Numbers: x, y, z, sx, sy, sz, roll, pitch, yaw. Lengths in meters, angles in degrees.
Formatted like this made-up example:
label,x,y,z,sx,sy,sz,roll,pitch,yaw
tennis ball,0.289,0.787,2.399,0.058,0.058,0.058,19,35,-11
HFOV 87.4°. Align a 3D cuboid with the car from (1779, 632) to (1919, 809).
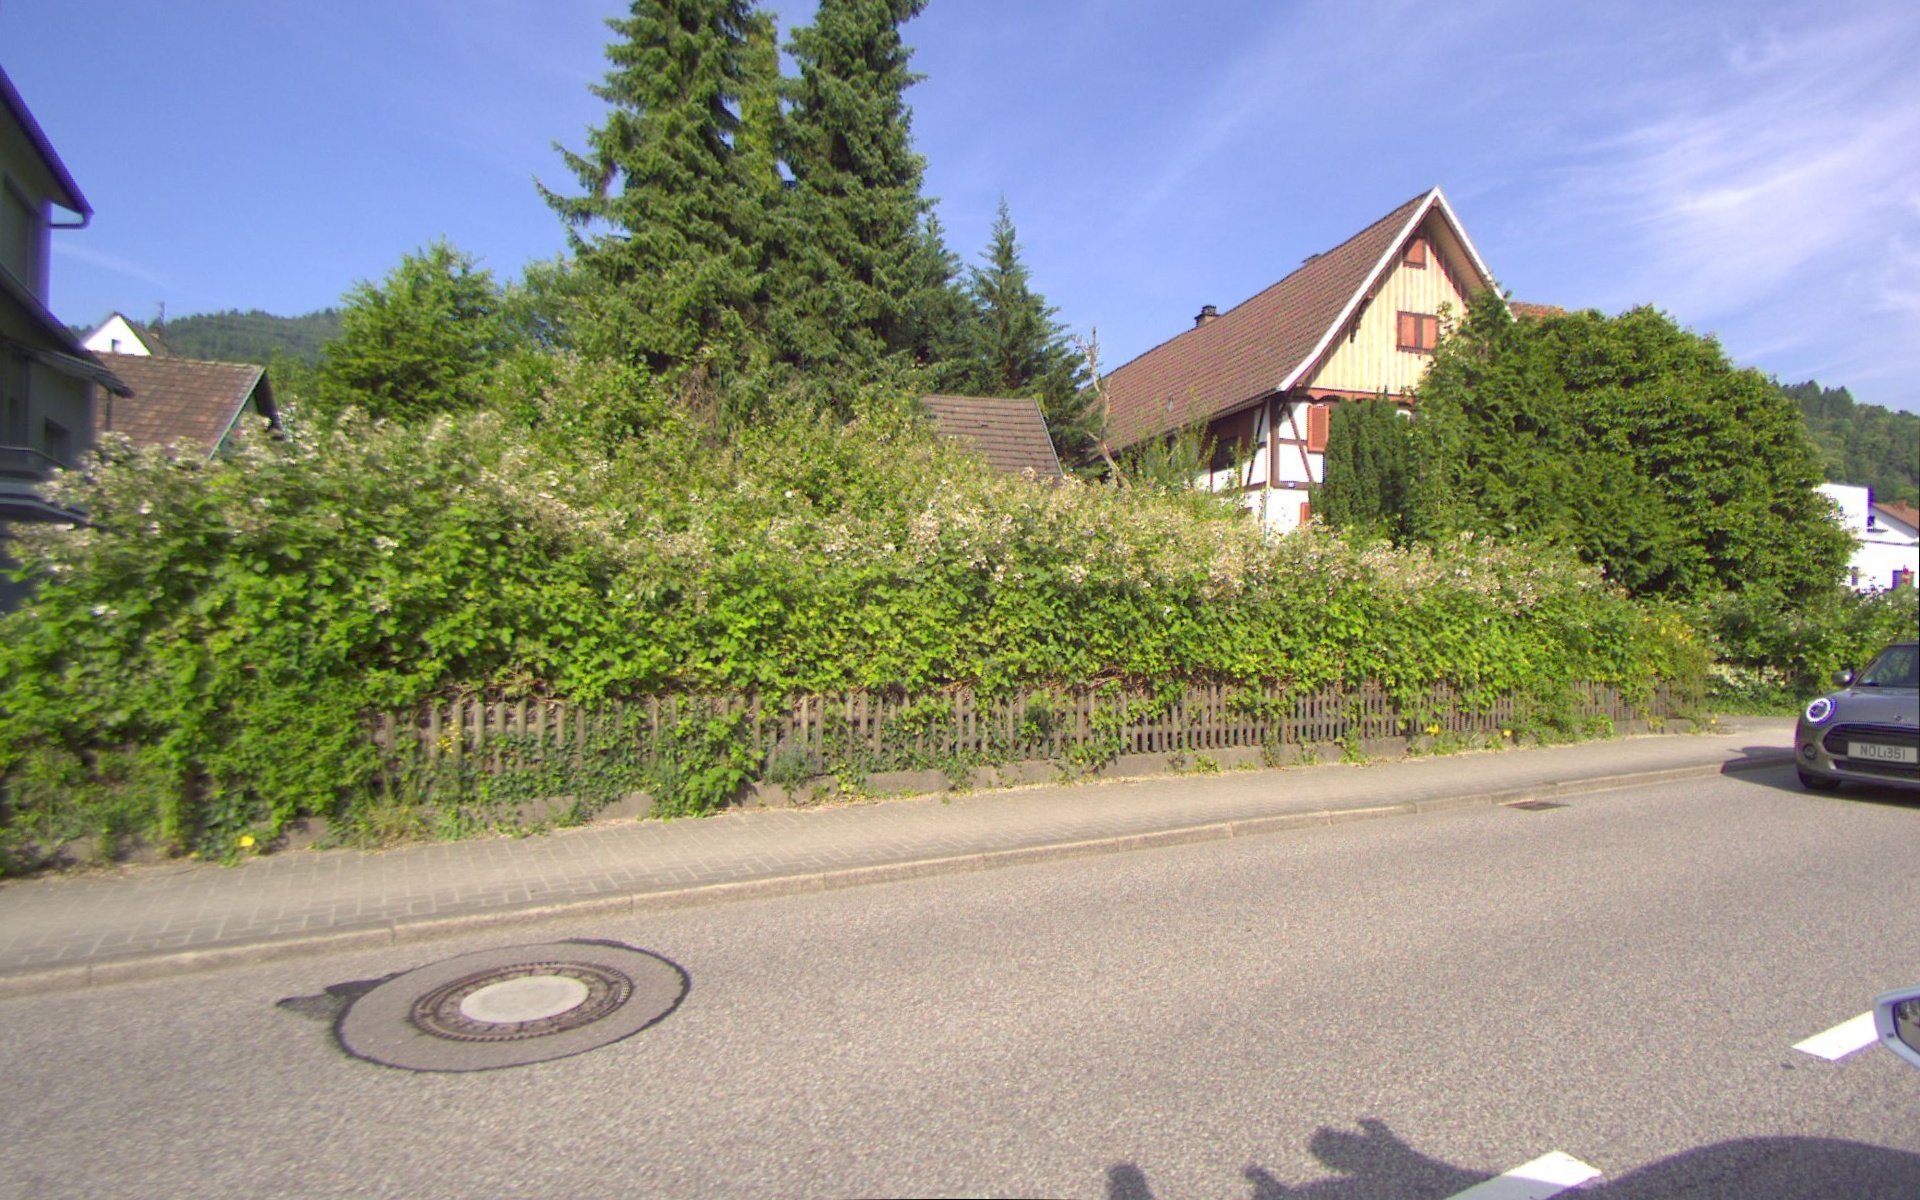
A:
label,x,y,z,sx,sy,sz,roll,pitch,yaw
car,9.509,1.054,9.318,3.954,1.421,1.705,2,-1,-31
